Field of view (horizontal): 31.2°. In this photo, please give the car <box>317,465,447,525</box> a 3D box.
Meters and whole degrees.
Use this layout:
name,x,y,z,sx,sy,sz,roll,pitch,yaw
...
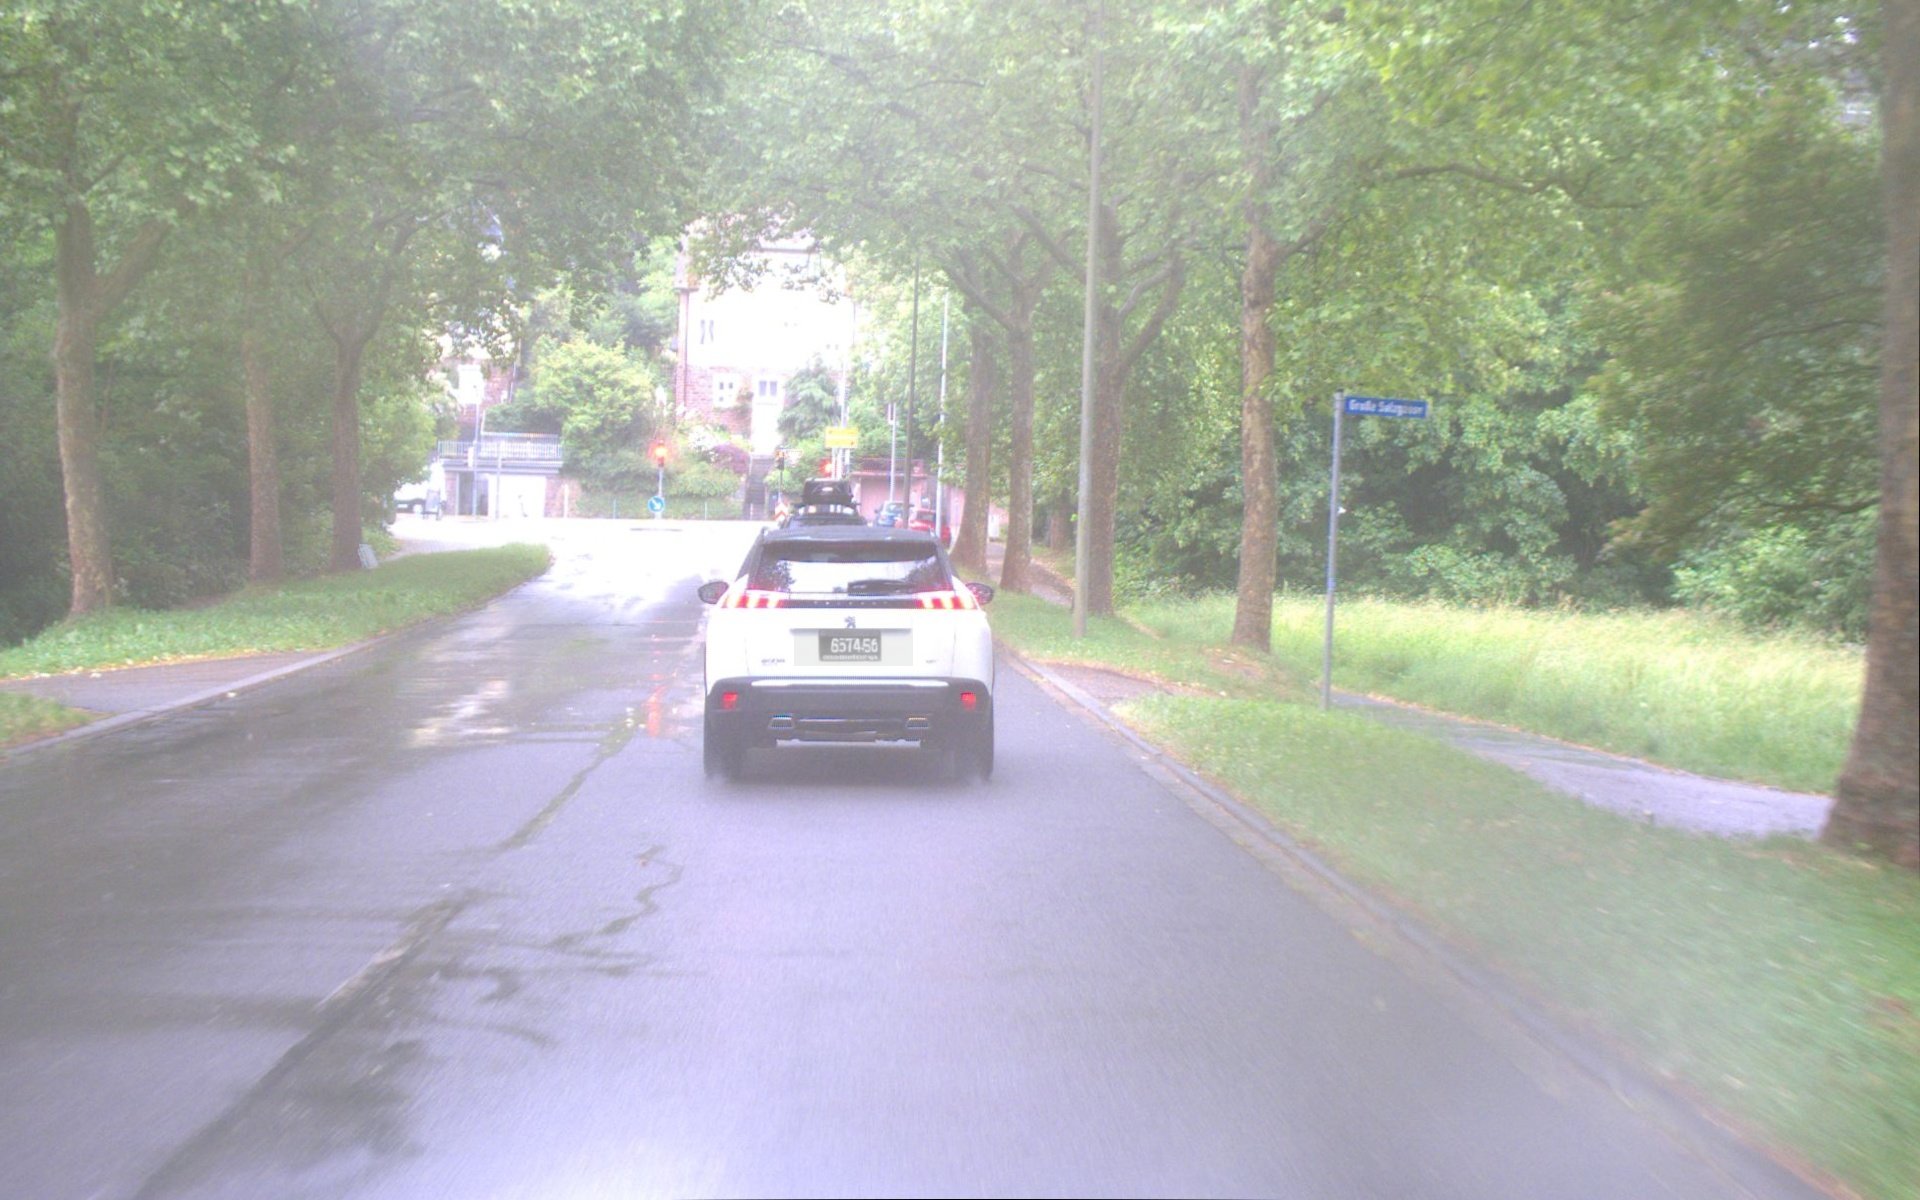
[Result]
name,x,y,z,sx,sy,sz,roll,pitch,yaw
car,-27.107,-4.937,161.347,5.660,2.485,2.316,3,0,-3

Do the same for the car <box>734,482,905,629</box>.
name,x,y,z,sx,sy,sz,roll,pitch,yaw
car,-1.733,-0.582,41.260,1.831,1.451,4.660,5,3,-4

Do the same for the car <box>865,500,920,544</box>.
name,x,y,z,sx,sy,sz,roll,pitch,yaw
car,-2.576,-2.961,130.436,1.749,1.486,3.601,5,1,-5

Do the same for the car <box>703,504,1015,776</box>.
name,x,y,z,sx,sy,sz,roll,pitch,yaw
car,-0.749,0.178,22.228,1.752,1.530,4.368,1,2,-5

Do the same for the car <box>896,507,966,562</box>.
name,x,y,z,sx,sy,sz,roll,pitch,yaw
car,-1.033,-2.327,121.069,1.819,1.512,3.745,9,3,-8
